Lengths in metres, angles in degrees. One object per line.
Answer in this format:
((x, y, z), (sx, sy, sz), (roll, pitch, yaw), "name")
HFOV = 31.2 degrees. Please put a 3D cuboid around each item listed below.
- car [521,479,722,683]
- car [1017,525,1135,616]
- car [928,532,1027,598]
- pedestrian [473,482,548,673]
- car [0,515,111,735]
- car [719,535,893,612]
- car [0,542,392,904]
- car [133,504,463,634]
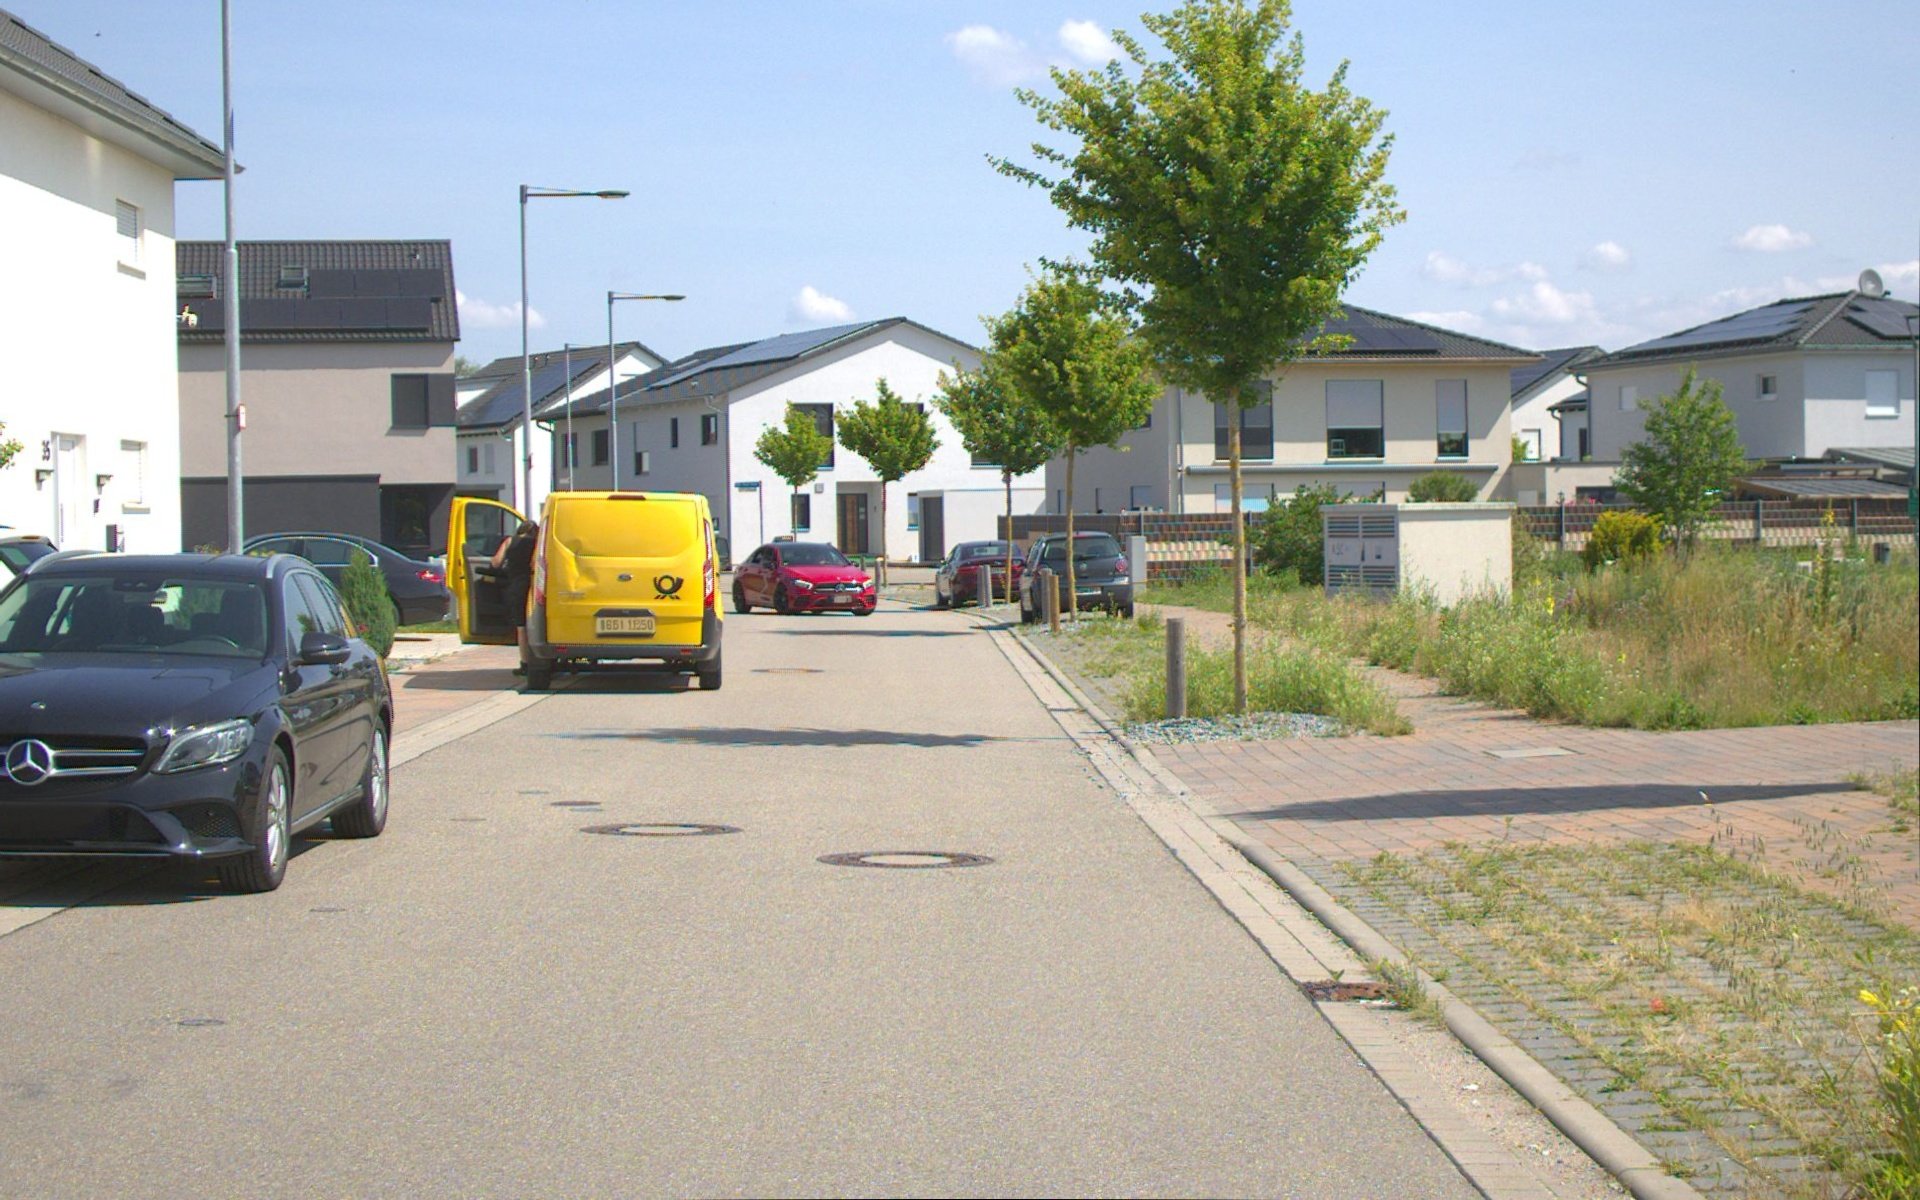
((-3.492, -0.201, 35.870), (1.941, 1.975, 4.218), (-1, 0, -5), "car")
((1.857, -0.456, 55.981), (1.639, 1.398, 3.811), (-1, 0, -2), "car")
((0.364, -0.737, 74.586), (1.627, 1.318, 3.834), (-1, -1, -7), "car")
((-4.806, -0.242, 36.809), (0.651, 2.007, 1.124), (-1, 0, -1), "pedestrian")
((-8.751, 0.137, 26.192), (4.069, 1.576, 1.784), (1, 2, 5), "car")
((-3.053, -0.539, 67.171), (1.993, 1.426, 4.702), (-1, 1, -21), "car")
((-3.832, 0.464, 15.987), (1.745, 1.400, 4.160), (2, 1, -1), "car")
((-8.986, -0.422, 46.562), (4.159, 1.499, 1.816), (3, 0, -16), "car")
